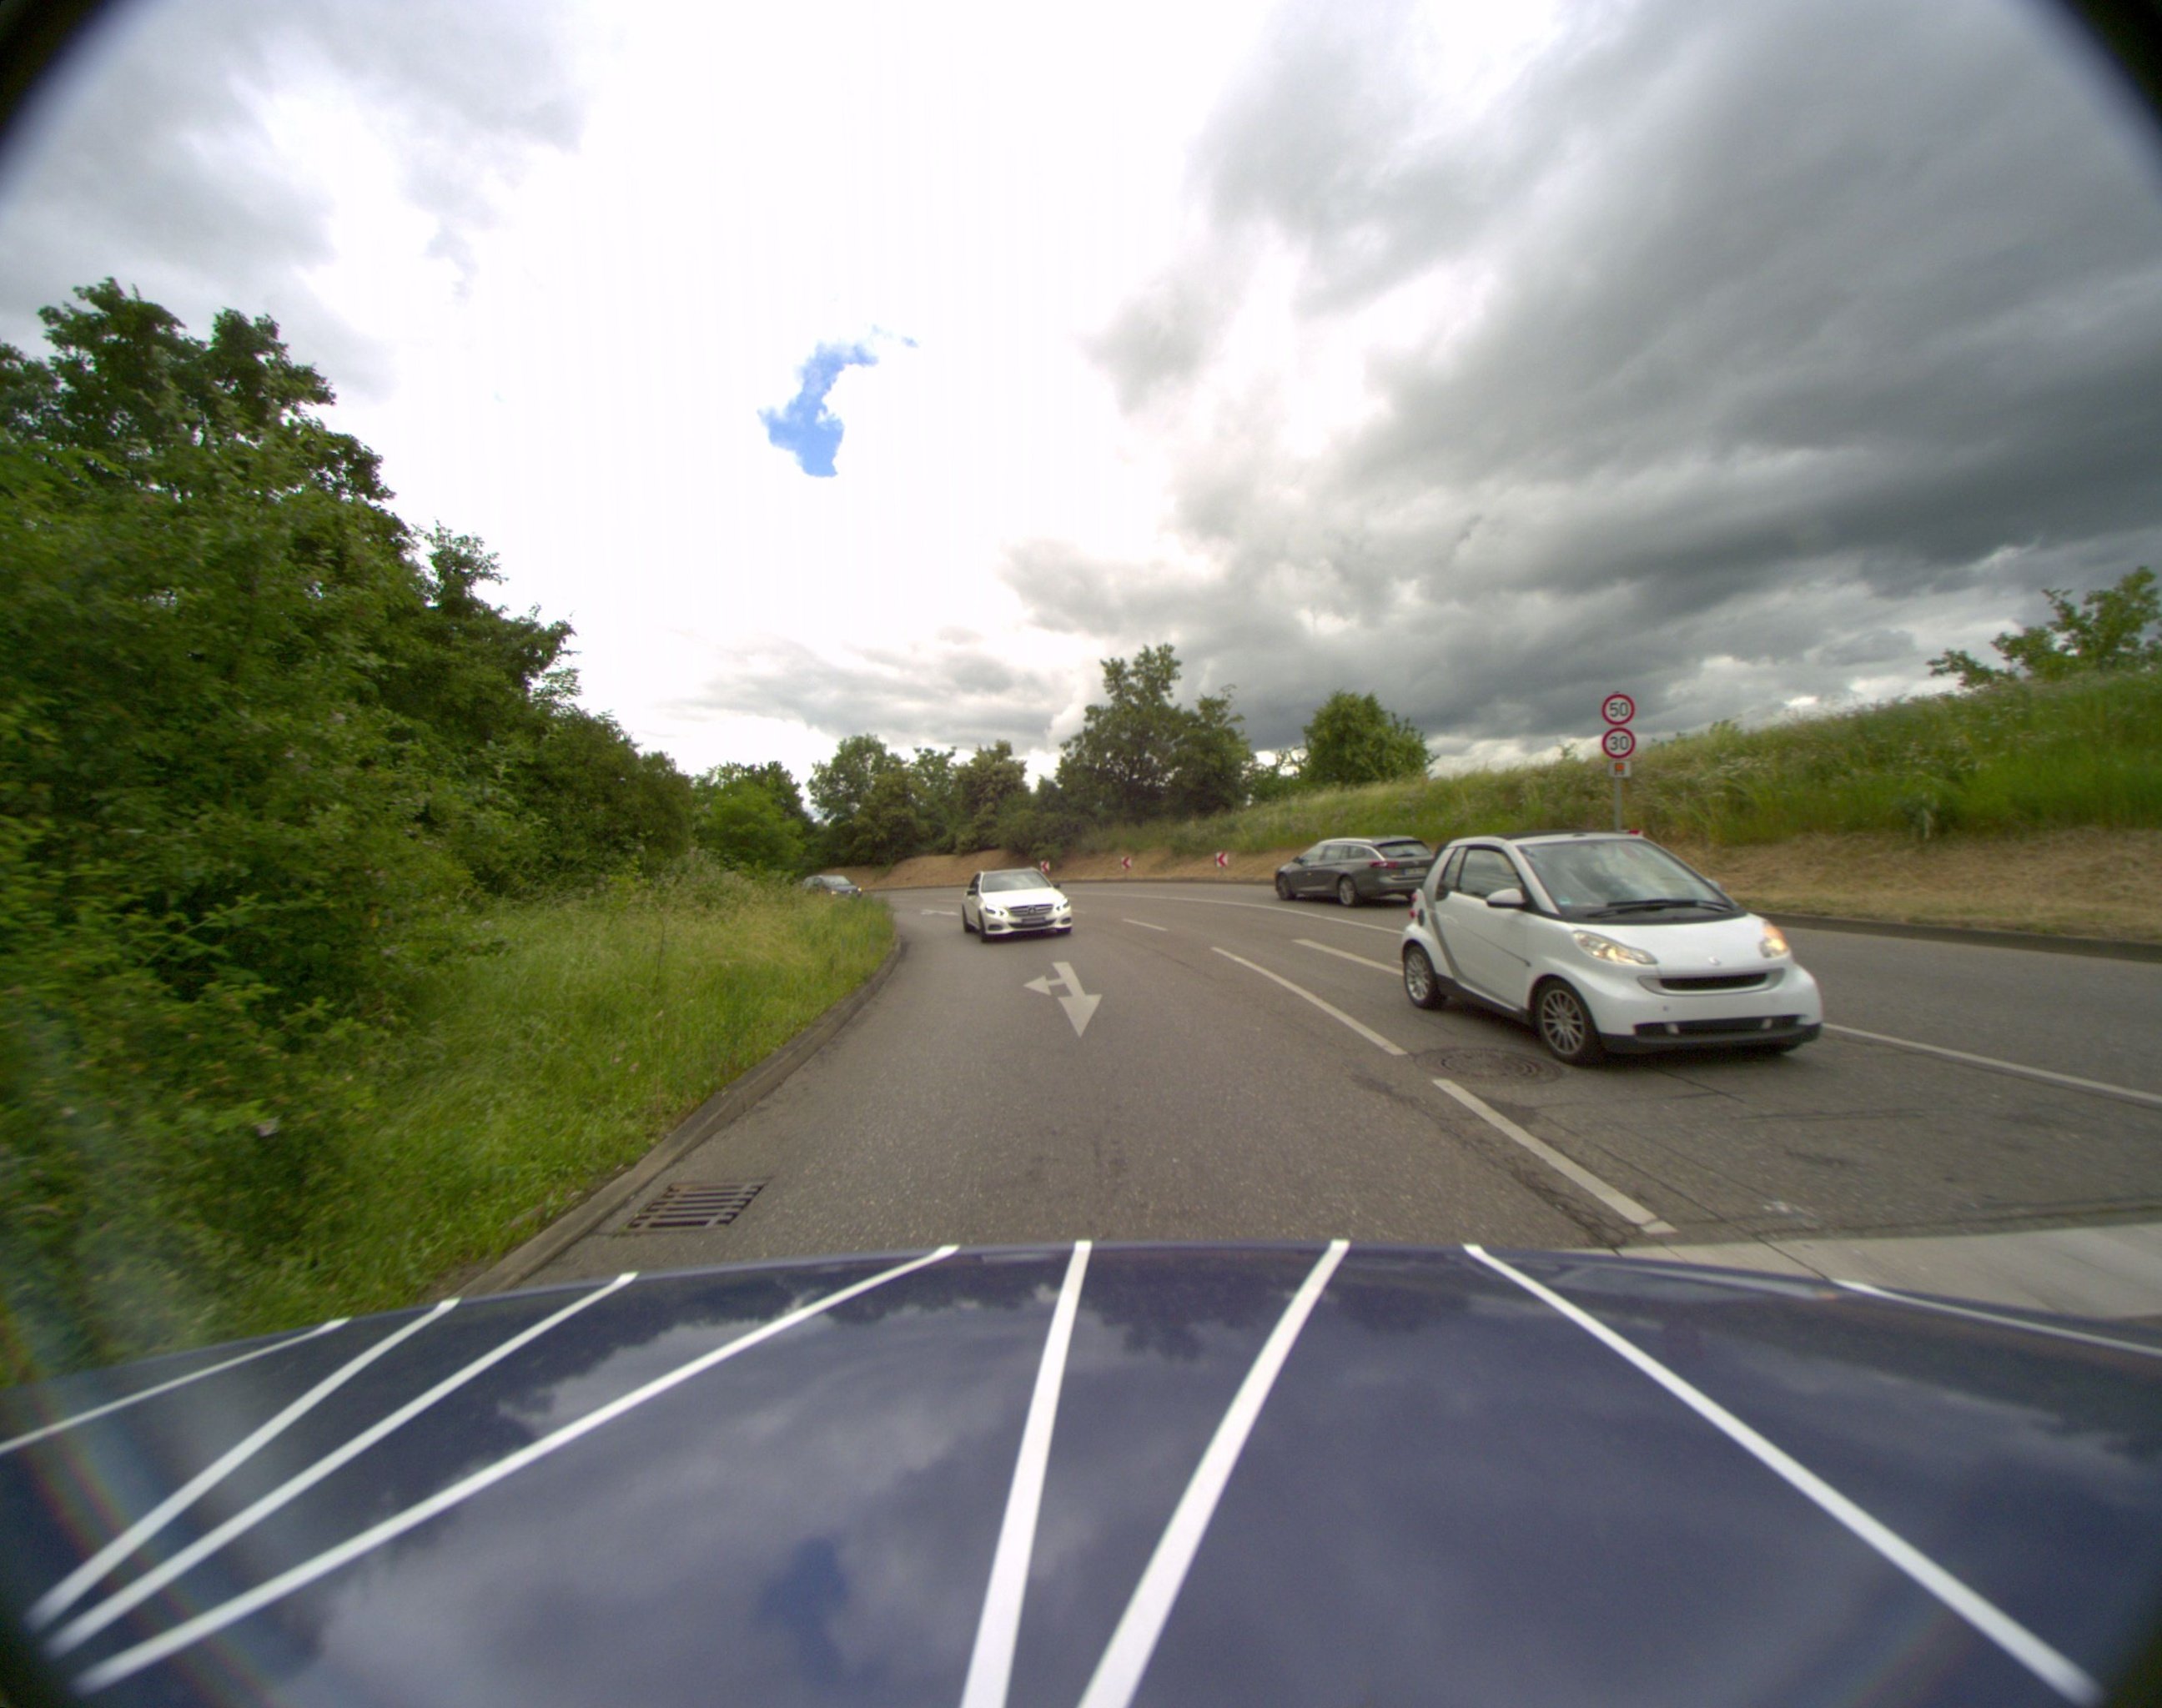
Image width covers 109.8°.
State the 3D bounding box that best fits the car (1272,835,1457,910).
[{"bbox_3d":[6.221,0.370,17.308,1.771,1.412,4.416,-3,1,-13],"label":"car"}]

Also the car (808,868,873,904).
[{"bbox_3d":[-12.043,1.613,37.901,1.827,1.535,3.718,-5,-1,-37],"label":"car"}]

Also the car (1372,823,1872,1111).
[{"bbox_3d":[3.748,0.650,5.938,1.580,1.548,3.016,-5,0,-2],"label":"car"}]

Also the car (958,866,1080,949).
[{"bbox_3d":[-1.498,1.068,16.799,1.889,1.414,3.995,-5,1,-15],"label":"car"}]
